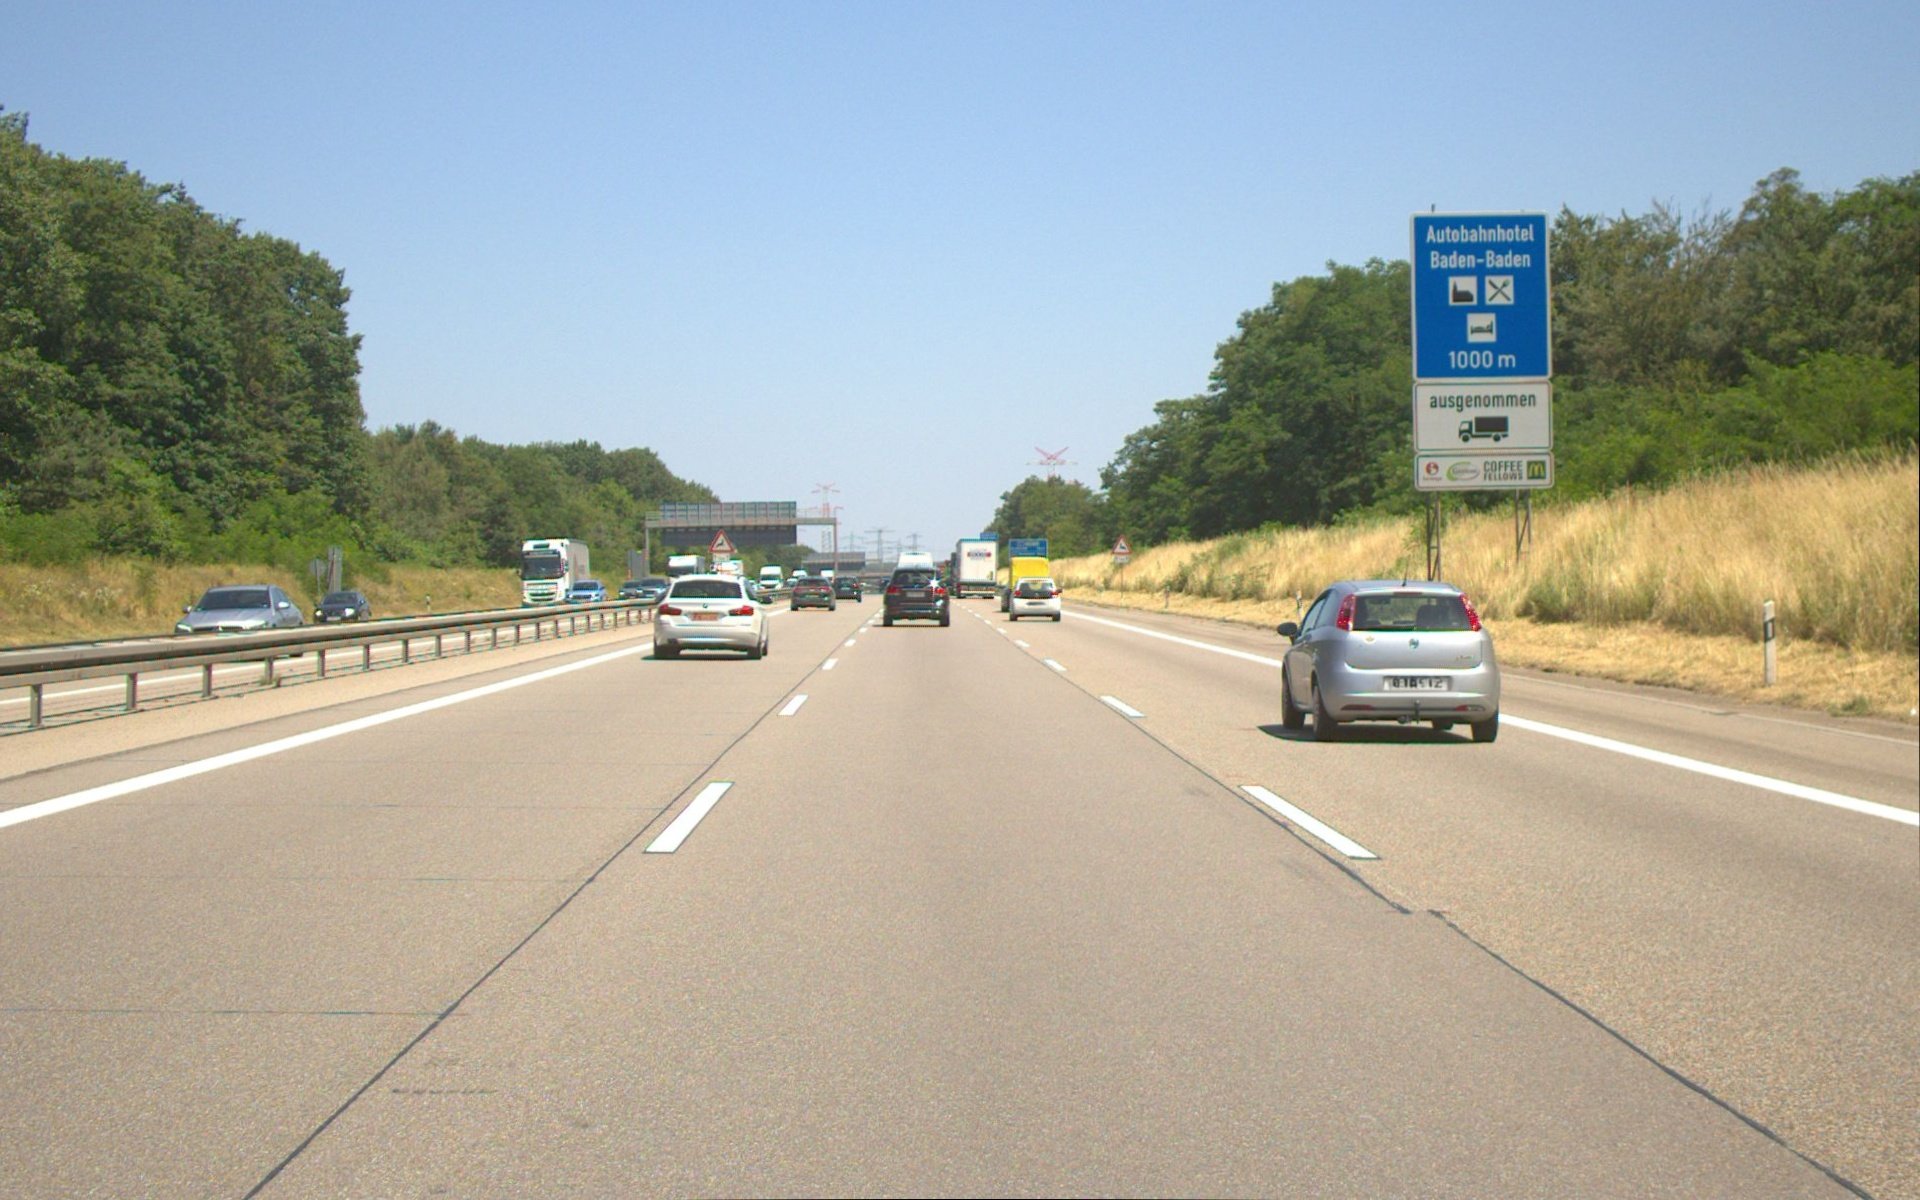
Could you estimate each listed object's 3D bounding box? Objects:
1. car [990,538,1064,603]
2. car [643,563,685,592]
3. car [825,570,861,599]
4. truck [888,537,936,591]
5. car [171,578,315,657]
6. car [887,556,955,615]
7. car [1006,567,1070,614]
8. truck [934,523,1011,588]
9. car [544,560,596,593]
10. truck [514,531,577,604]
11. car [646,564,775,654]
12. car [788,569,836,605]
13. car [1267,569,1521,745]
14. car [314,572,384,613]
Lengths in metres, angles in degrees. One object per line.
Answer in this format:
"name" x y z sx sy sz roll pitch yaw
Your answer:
"car" 2.746 -1.222 143.001 2.666 2.625 6.113 1 0 -2
"car" -17.268 -1.315 200.576 1.993 1.562 5.190 -2 1 0
"car" -6.637 -0.885 195.268 1.875 1.575 3.928 0 1 0
"truck" -2.644 -1.936 188.735 2.428 2.874 6.206 1 0 -2
"car" -13.617 0.307 65.515 1.837 1.368 4.352 -2 1 -1
"car" -1.167 -0.435 100.451 1.831 1.666 4.000 1 0 -2
"car" 2.573 -0.316 114.404 1.821 1.486 3.737 1 0 -3
"truck" 0.825 -3.076 240.128 3.991 4.300 9.884 2 0 -8
"car" -19.180 -1.162 169.100 1.993 1.562 4.528 -2 1 0
"truck" -23.700 -1.860 196.865 2.904 4.053 5.654 -2 0 -1
"car" -4.363 0.129 60.869 1.963 1.498 5.405 1 0 -1
"car" -6.206 -0.577 144.179 1.832 1.427 5.000 1 1 -1
"car" 4.026 0.491 32.425 1.719 1.486 3.738 1 1 -3
"car" -22.397 -0.301 126.188 1.814 1.390 4.111 -2 1 0
